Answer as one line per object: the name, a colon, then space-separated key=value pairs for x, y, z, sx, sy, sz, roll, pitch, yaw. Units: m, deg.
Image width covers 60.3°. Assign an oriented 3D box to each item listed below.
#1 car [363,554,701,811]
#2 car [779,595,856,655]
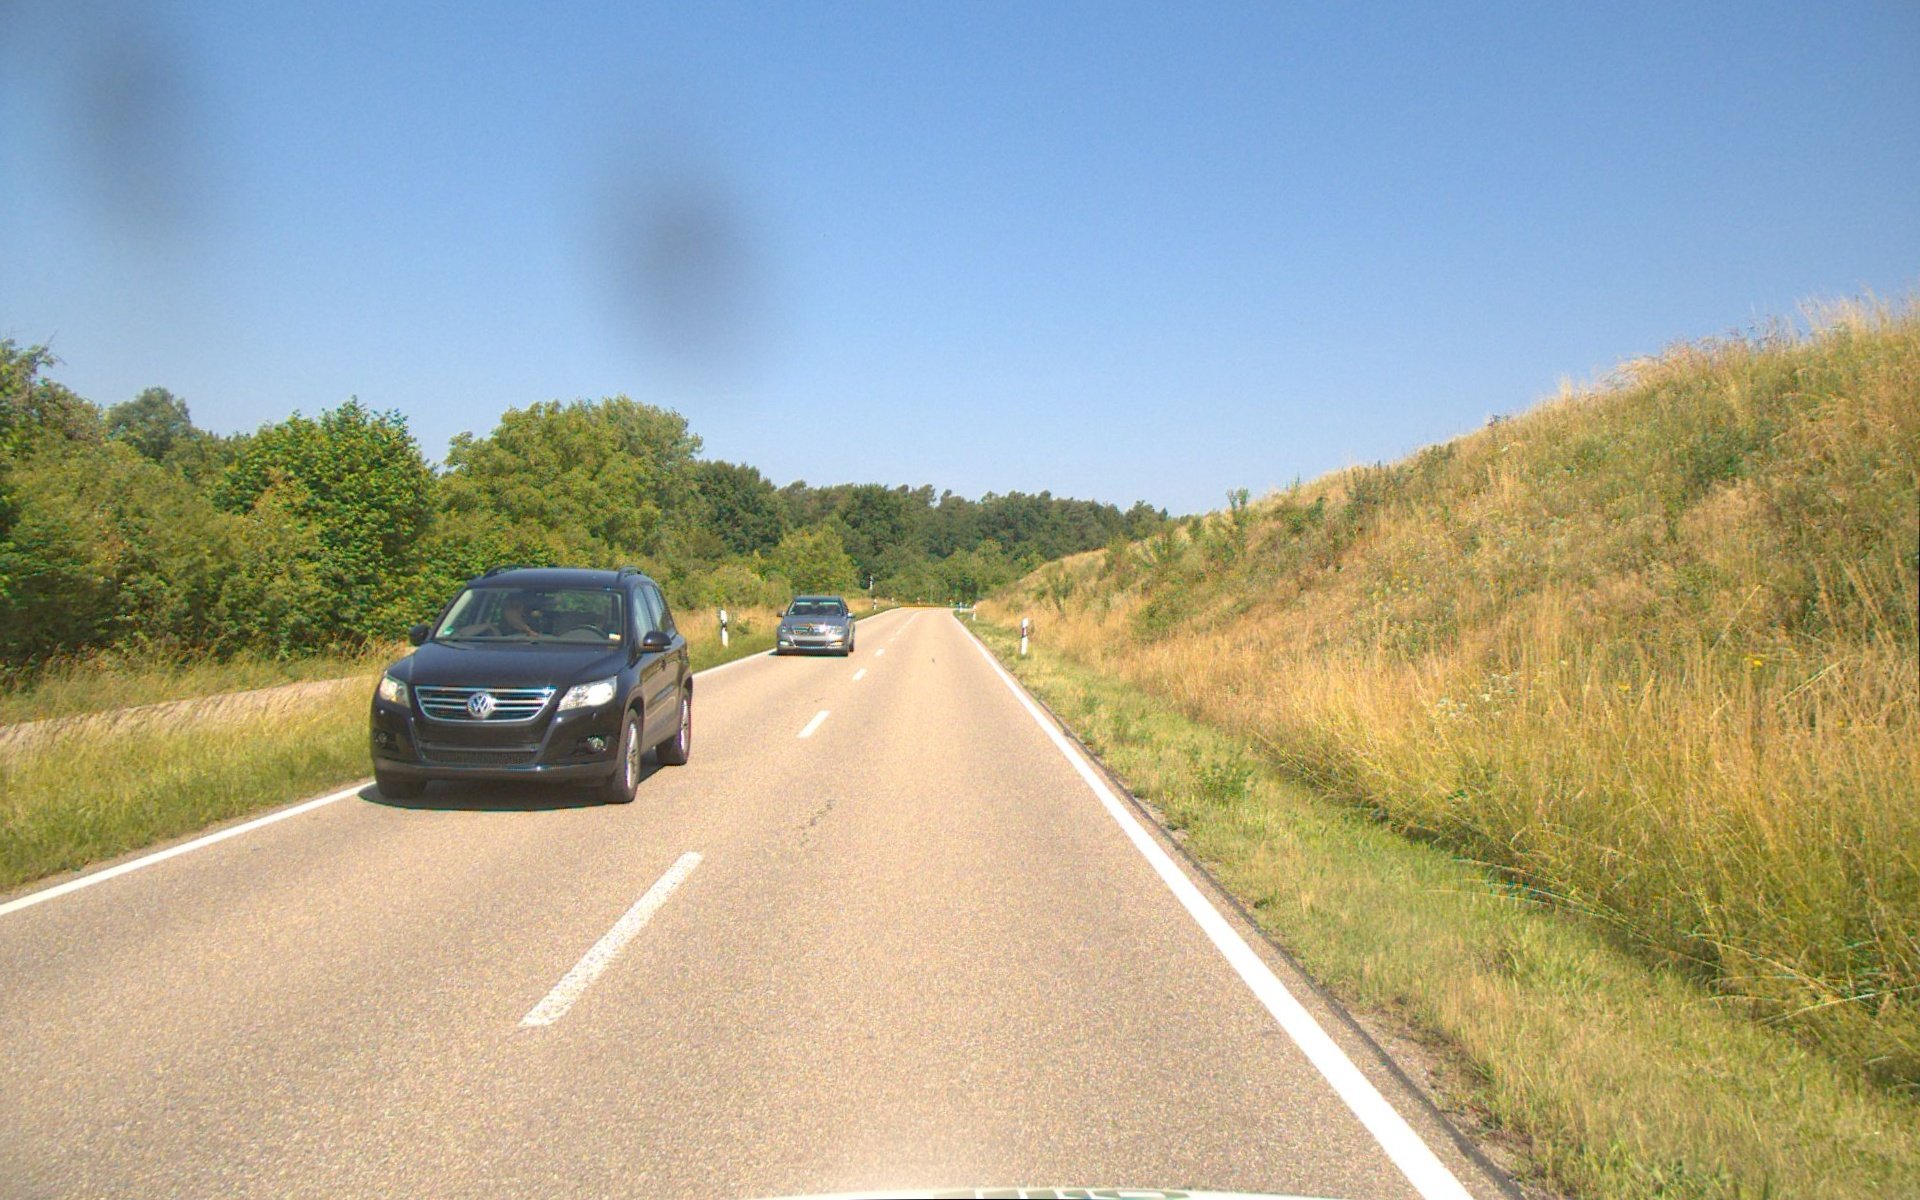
car: x=-3.149 y=0.541 z=12.947 sx=1.681 sy=1.675 sz=3.913 roll=1 pitch=0 yaw=-2
car: x=-3.528 y=0.606 z=41.533 sx=1.688 sy=1.377 sz=3.998 roll=2 pitch=0 yaw=-2
